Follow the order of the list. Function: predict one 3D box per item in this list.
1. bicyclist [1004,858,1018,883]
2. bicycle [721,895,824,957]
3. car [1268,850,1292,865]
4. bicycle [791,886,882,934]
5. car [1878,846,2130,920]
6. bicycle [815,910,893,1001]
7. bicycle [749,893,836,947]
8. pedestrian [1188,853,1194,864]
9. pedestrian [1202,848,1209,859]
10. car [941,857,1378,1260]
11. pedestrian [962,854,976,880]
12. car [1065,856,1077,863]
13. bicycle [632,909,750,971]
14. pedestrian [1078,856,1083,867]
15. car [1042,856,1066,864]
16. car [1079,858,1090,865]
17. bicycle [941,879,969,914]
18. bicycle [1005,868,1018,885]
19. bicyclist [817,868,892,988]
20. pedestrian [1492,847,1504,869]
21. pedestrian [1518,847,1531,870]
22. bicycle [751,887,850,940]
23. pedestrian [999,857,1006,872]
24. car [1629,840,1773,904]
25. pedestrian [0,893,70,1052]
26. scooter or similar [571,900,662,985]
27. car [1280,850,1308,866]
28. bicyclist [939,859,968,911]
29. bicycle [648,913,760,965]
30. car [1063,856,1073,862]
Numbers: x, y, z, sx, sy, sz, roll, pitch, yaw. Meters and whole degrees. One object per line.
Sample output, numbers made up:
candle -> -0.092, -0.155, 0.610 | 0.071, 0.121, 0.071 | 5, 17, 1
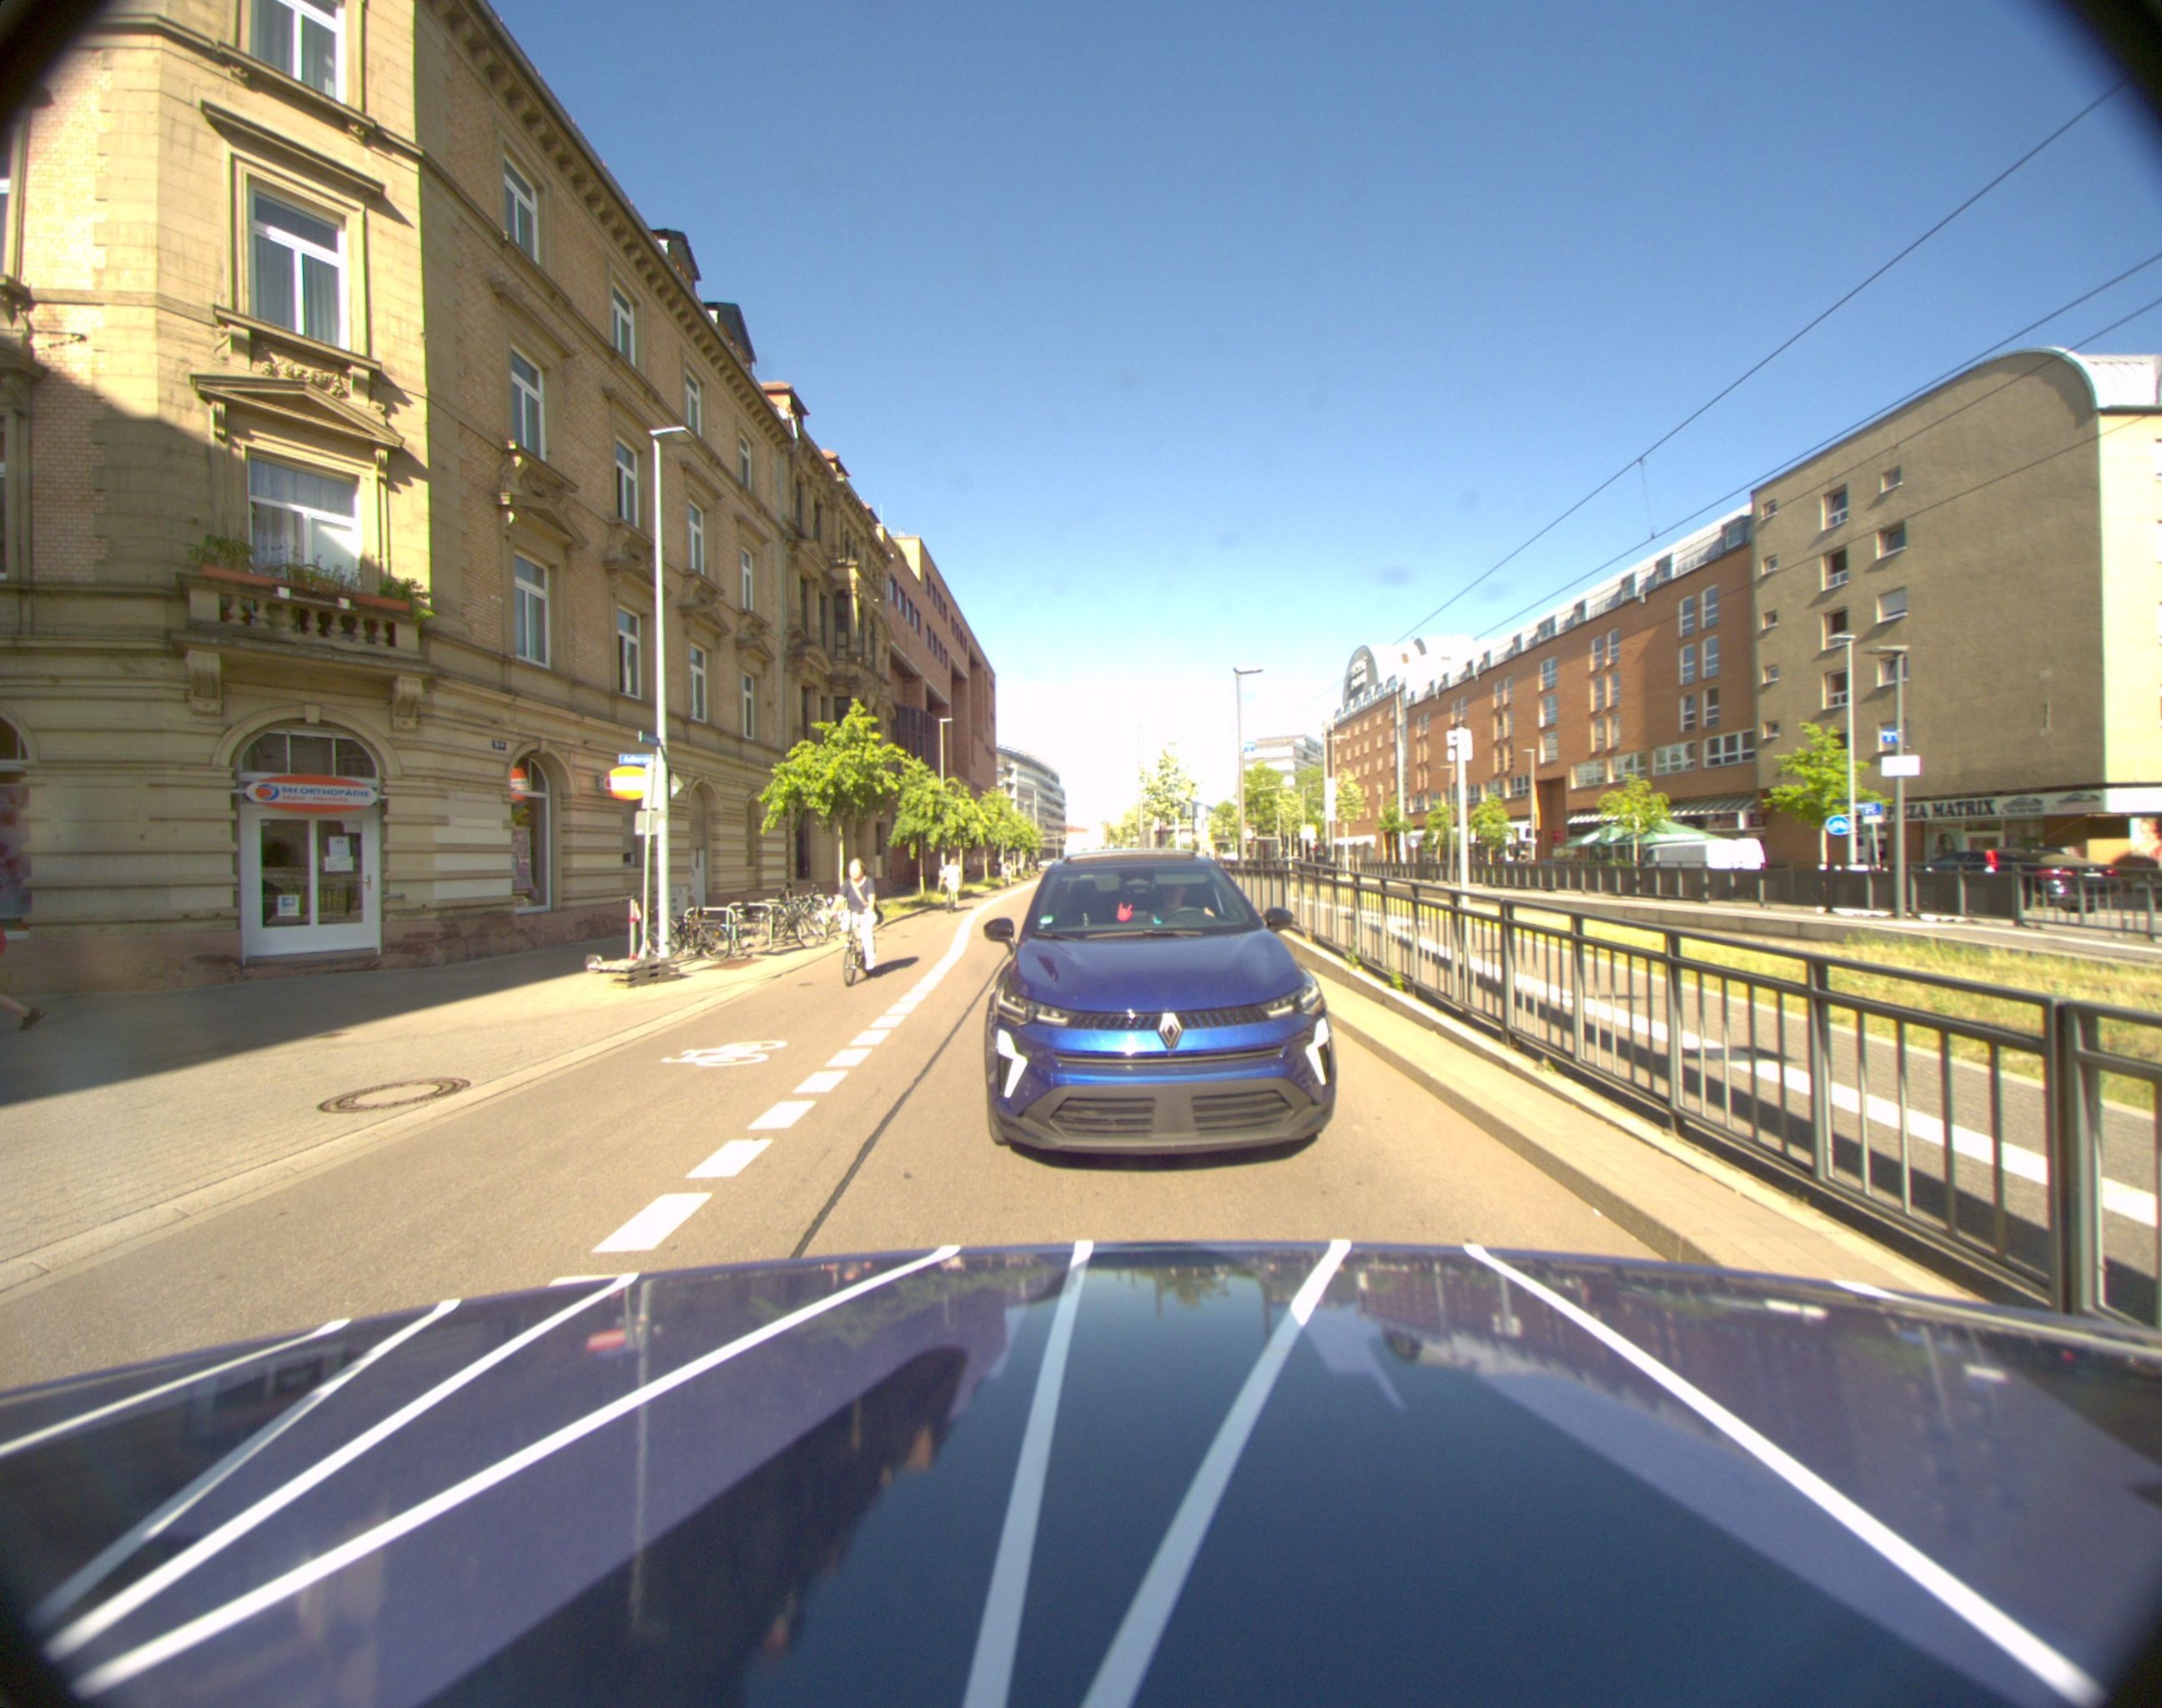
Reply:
bicyclist -> -4.650, 1.104, 50.596 | 0.755, 1.607, 0.762 | -3, 0, 4
bicycle -> -5.923, 1.367, 14.632 | 1.727, 1.094, 0.607 | 1, 0, 4
car -> 24.706, 0.445, 94.494 | 1.998, 1.674, 3.999 | -2, 1, 1
bicycle -> -6.019, 1.381, 18.802 | 2.001, 1.086, 0.846 | 1, 0, -9
car -> 24.165, 0.697, 20.160 | 1.819, 1.749, 4.000 | -1, 0, 0
bicycle -> -3.054, 1.342, 10.366 | 0.558, 1.021, 1.507 | -3, 0, 0
bicycle -> -6.126, 1.398, 16.191 | 1.603, 1.039, 0.607 | 1, 0, 4
pedestrian -> 15.295, 0.604, 105.325 | 0.608, 1.560, 0.728 | -1, 0, 21
pedestrian -> 17.610, -0.016, 107.801 | 0.729, 1.560, 0.608 | -2, 0, -31
car -> 0.364, 0.890, 5.248 | 1.802, 1.596, 3.999 | -2, 1, 1
pedestrian -> -8.136, 0.945, 55.288 | 0.790, 1.872, 1.106 | -1, 1, 0
car -> -2.309, 1.304, 173.934 | 2.120, 1.547, 4.003 | -1, 0, 9
bicycle -> -6.393, 1.400, 12.495 | 1.673, 0.938, 0.607 | 0, 0, 8
pedestrian -> -0.065, 1.074, 105.915 | 0.774, 1.478, 0.686 | -1, 0, 1
car -> -5.105, 1.131, 143.725 | 4.140, 1.602, 1.786 | -1, 0, 29
car -> 0.774, 1.695, 172.690 | 1.882, 1.455, 4.002 | -2, 1, 8
bicycle -> -4.309, 1.445, 26.038 | 0.578, 1.090, 1.507 | -3, 0, 2
bicycle -> -4.632, 1.479, 50.626 | 0.578, 1.090, 1.507 | -3, 0, 3
bicyclist -> -3.076, 0.975, 10.400 | 0.659, 1.528, 0.909 | -3, 0, 0
pedestrian -> 35.614, 0.340, 64.874 | 0.622, 1.830, 0.644 | -1, 1, -1
pedestrian -> 34.968, 0.336, 59.867 | 0.622, 1.830, 0.645 | -1, 1, 1
bicycle -> -6.446, 1.350, 17.507 | 1.999, 1.121, 0.710 | 1, 0, 2
pedestrian -> -8.064, 1.081, 78.260 | 0.633, 1.478, 0.736 | -1, 1, 0
car -> 25.351, 0.673, 31.407 | 1.997, 2.356, 5.649 | -1, 0, 8
pedestrian -> -10.976, 1.185, 7.634 | 0.709, 1.533, 0.929 | 0, 1, 39
scooter or similar -> -6.765, 1.281, 11.089 | 1.113, 1.183, 0.419 | 0, 0, 8
car -> 23.832, 0.456, 85.310 | 1.998, 1.674, 3.999 | -2, 1, 1
bicyclist -> -4.357, 1.050, 26.005 | 0.684, 1.718, 0.909 | -3, 0, 3
bicycle -> -6.522, 1.464, 13.163 | 1.673, 0.816, 0.607 | 0, 0, 7
car -> -3.154, 1.300, 189.836 | 1.882, 1.455, 4.001 | -2, 1, 7
